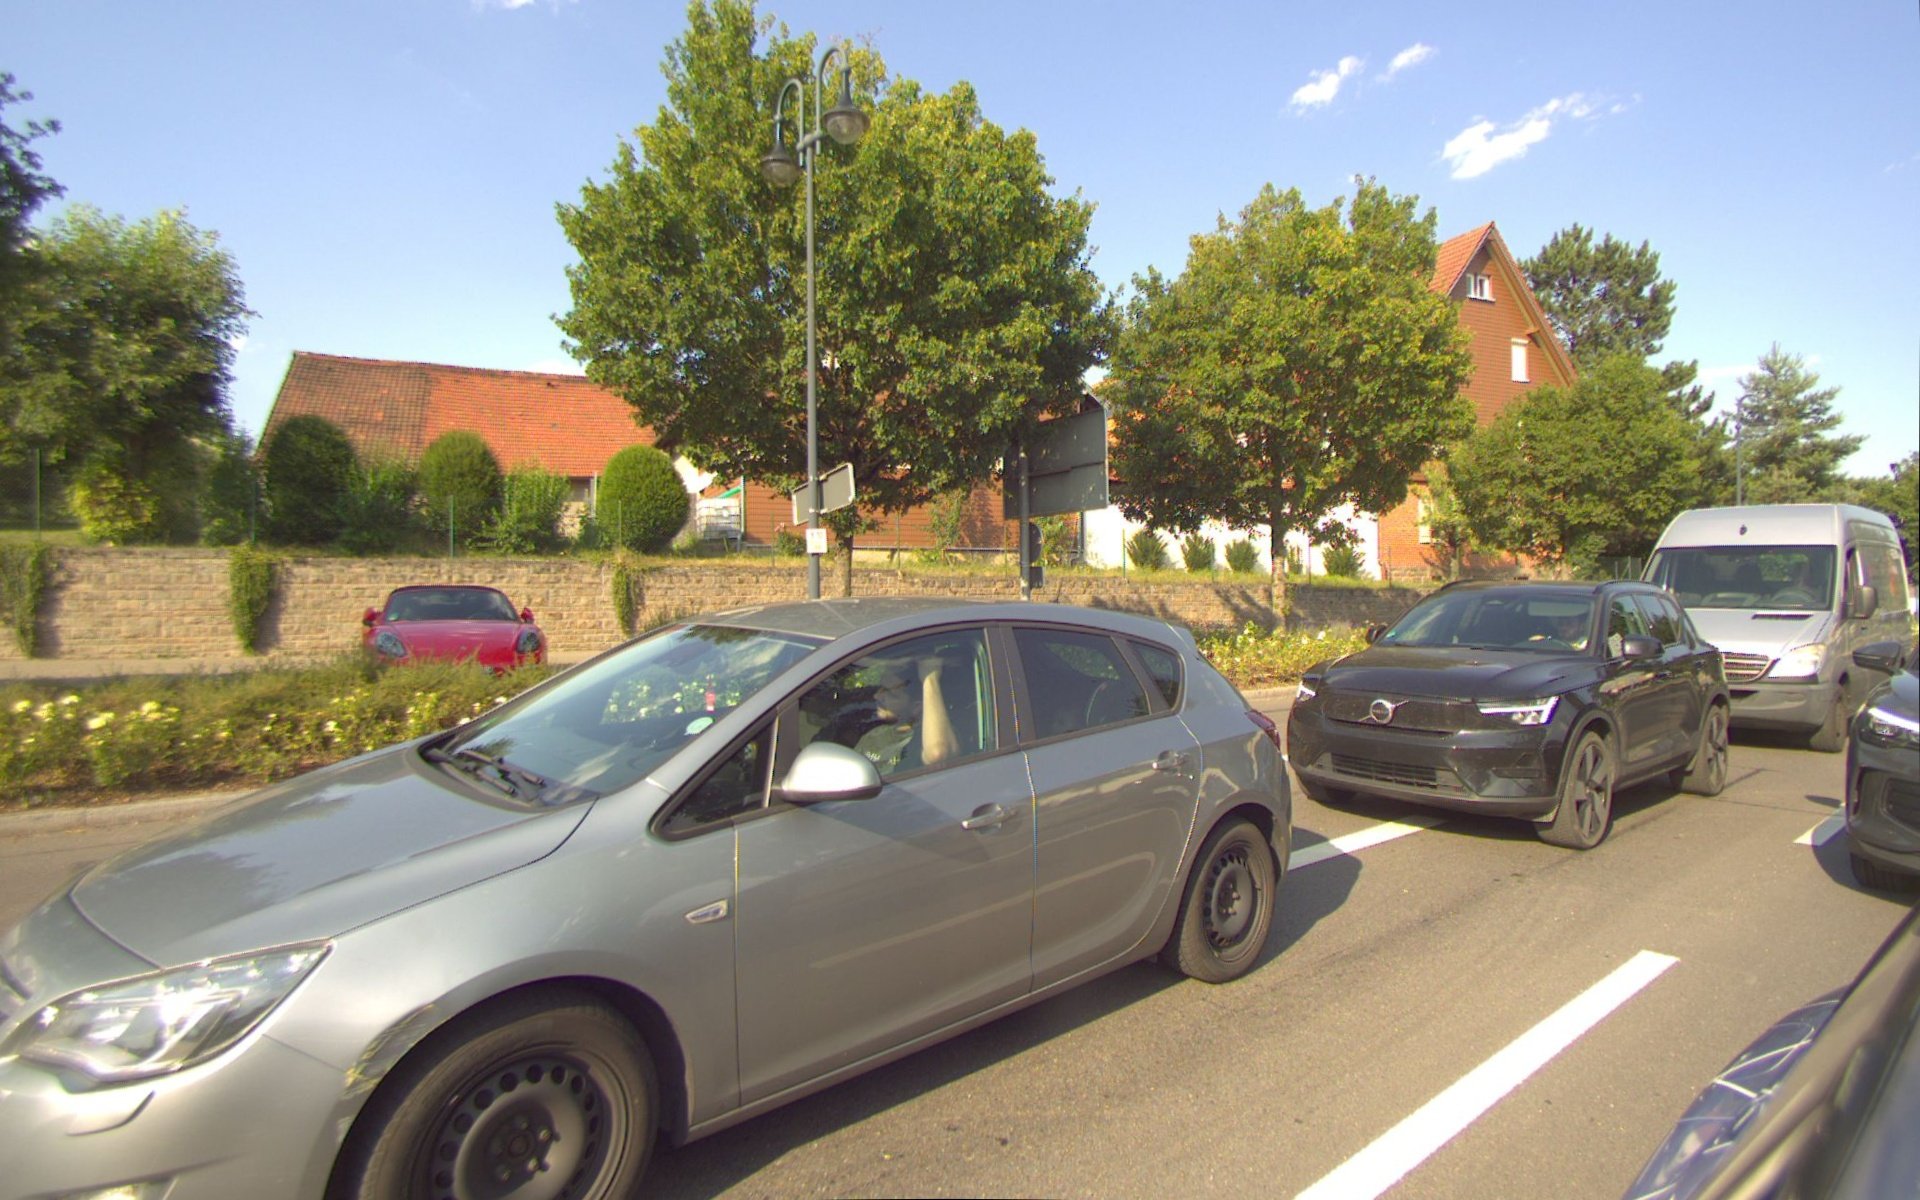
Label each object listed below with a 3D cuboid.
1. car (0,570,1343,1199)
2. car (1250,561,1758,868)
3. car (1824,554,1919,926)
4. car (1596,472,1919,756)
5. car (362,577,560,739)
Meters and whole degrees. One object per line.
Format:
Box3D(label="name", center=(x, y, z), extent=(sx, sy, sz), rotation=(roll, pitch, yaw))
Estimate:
Box3D(label="car", center=(-0.558, 0.672, 3.514), extent=(4.244, 1.471, 1.765), rotation=(0, 2, -42))
Box3D(label="car", center=(4.162, 0.574, 7.444), extent=(4.242, 1.629, 1.844), rotation=(0, 2, -40))
Box3D(label="car", center=(6.215, 0.625, 5.329), extent=(4.242, 1.629, 1.844), rotation=(0, 2, -40))
Box3D(label="car", center=(9.737, 0.094, 11.969), extent=(5.938, 2.601, 1.992), rotation=(0, 1, -40))
Box3D(label="car", center=(-5.895, 0.532, 11.705), extent=(1.743, 1.510, 4.156), rotation=(0, 0, -31))
